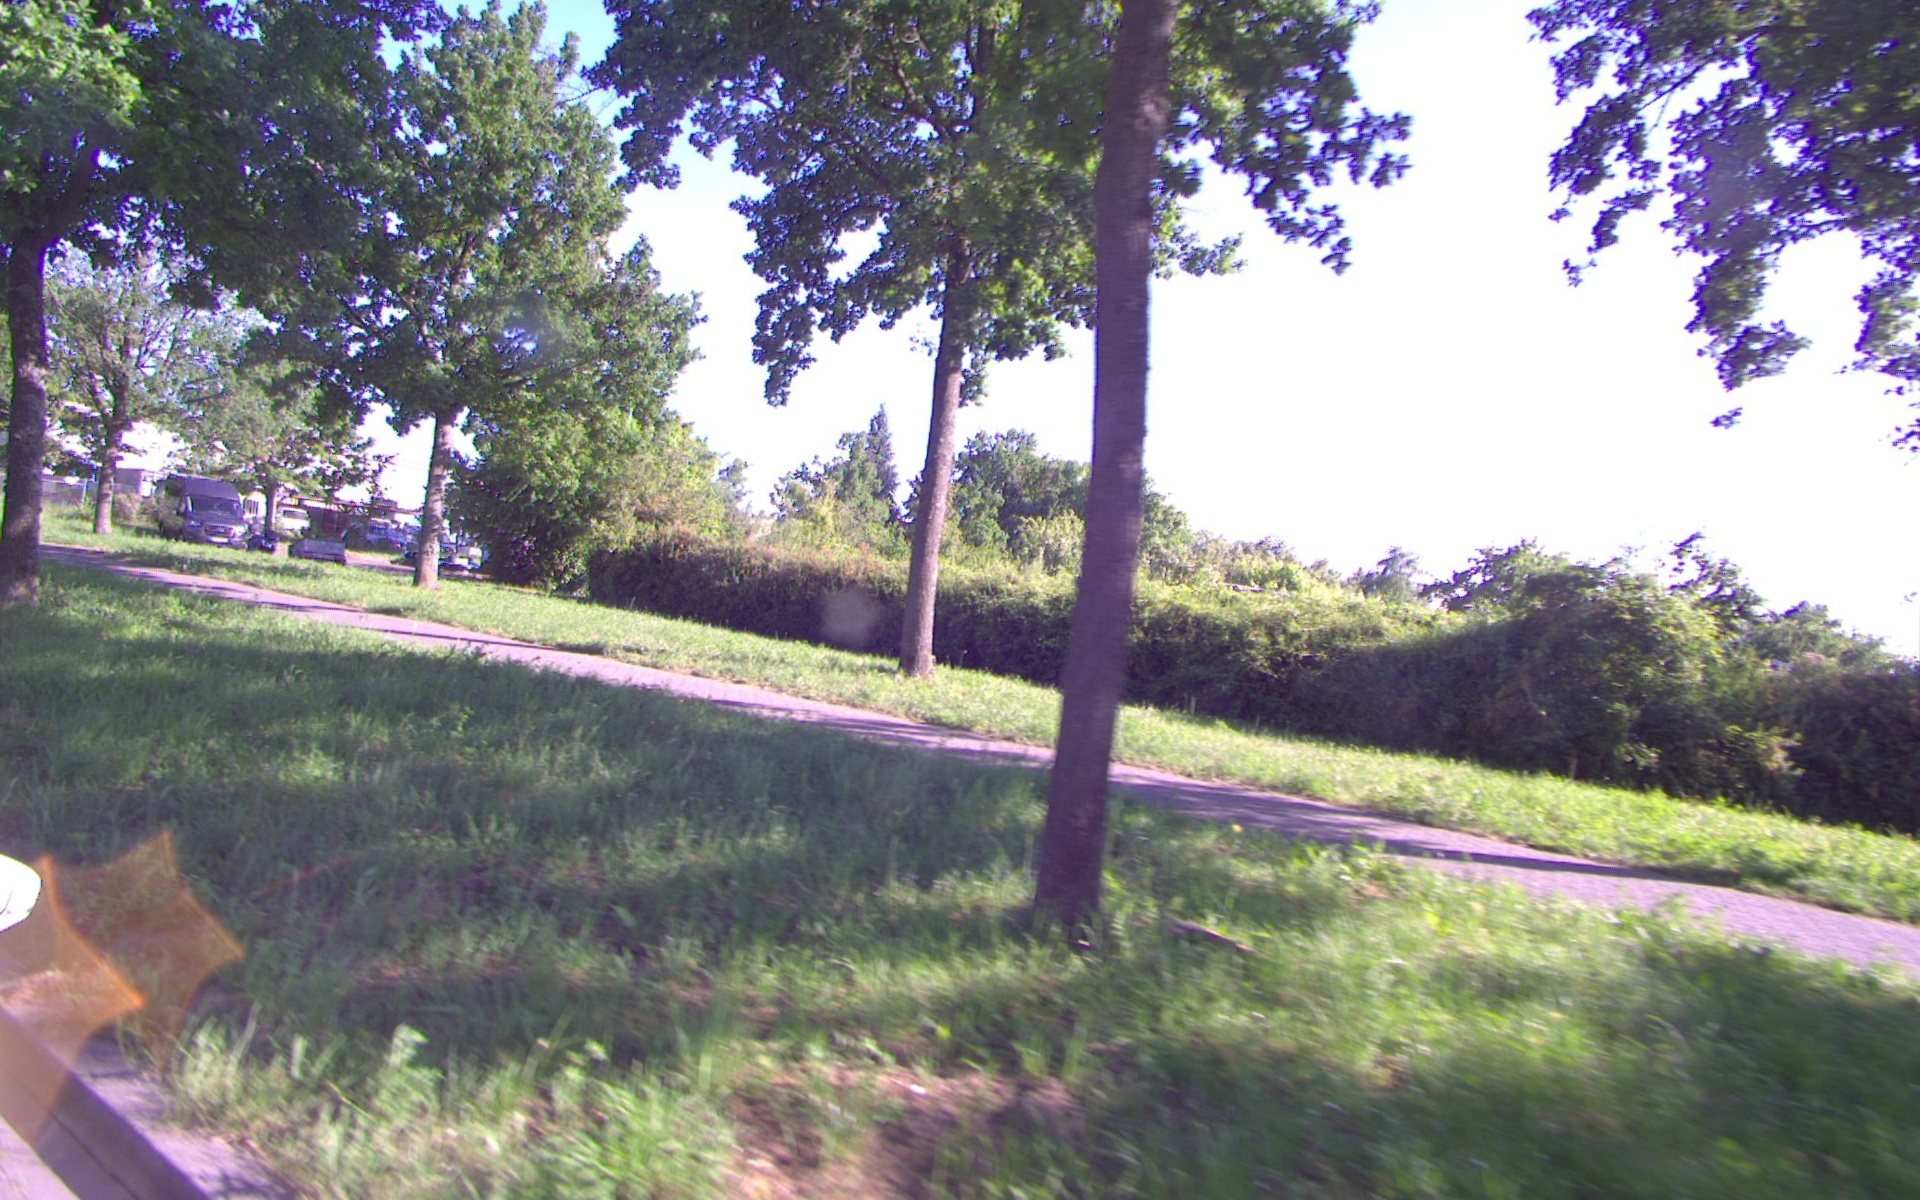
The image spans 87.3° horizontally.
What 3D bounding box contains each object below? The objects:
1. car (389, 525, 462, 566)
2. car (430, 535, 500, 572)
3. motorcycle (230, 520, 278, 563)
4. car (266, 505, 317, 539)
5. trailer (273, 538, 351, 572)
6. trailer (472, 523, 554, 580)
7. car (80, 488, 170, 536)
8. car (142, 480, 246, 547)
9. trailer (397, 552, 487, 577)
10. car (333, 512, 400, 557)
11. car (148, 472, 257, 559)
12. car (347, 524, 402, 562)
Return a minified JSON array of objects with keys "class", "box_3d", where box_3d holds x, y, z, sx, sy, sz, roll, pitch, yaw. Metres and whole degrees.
[{"class":"car","box_3d":[-30.013,-3.055,56.459,3.939,1.846,1.993,7,1,37]},{"class":"car","box_3d":[-28.672,-2.699,58.264,3.939,1.612,1.993,7,1,37]},{"class":"motorcycle","box_3d":[-22.632,-1.849,32.231,2.374,1.246,0.661,2,-3,41]},{"class":"car","box_3d":[-39.823,-4.634,59.889,1.829,1.660,3.951,6,1,-43]},{"class":"trailer","box_3d":[-20.611,-1.403,31.989,2.027,0.878,1.576,2,-3,42]},{"class":"trailer","box_3d":[-22.109,-2.411,49.670,3.737,2.336,2.185,7,1,42]},{"class":"car","box_3d":[-38.639,-4.073,46.566,3.535,1.685,2.008,7,1,30]},{"class":"car","box_3d":[-37.110,-4.199,48.696,4.768,2.677,2.163,7,1,30]},{"class":"trailer","box_3d":[-24.543,-1.696,47.562,4.755,0.659,2.224,7,0,42]},{"class":"car","box_3d":[-37.559,-4.170,63.603,4.941,2.087,2.082,11,1,41]},{"class":"car","box_3d":[-29.917,-3.389,39.637,5.886,2.597,2.082,11,2,41]},{"class":"car","box_3d":[-31.347,-3.082,53.820,1.826,1.660,3.955,6,1,-39]}]
